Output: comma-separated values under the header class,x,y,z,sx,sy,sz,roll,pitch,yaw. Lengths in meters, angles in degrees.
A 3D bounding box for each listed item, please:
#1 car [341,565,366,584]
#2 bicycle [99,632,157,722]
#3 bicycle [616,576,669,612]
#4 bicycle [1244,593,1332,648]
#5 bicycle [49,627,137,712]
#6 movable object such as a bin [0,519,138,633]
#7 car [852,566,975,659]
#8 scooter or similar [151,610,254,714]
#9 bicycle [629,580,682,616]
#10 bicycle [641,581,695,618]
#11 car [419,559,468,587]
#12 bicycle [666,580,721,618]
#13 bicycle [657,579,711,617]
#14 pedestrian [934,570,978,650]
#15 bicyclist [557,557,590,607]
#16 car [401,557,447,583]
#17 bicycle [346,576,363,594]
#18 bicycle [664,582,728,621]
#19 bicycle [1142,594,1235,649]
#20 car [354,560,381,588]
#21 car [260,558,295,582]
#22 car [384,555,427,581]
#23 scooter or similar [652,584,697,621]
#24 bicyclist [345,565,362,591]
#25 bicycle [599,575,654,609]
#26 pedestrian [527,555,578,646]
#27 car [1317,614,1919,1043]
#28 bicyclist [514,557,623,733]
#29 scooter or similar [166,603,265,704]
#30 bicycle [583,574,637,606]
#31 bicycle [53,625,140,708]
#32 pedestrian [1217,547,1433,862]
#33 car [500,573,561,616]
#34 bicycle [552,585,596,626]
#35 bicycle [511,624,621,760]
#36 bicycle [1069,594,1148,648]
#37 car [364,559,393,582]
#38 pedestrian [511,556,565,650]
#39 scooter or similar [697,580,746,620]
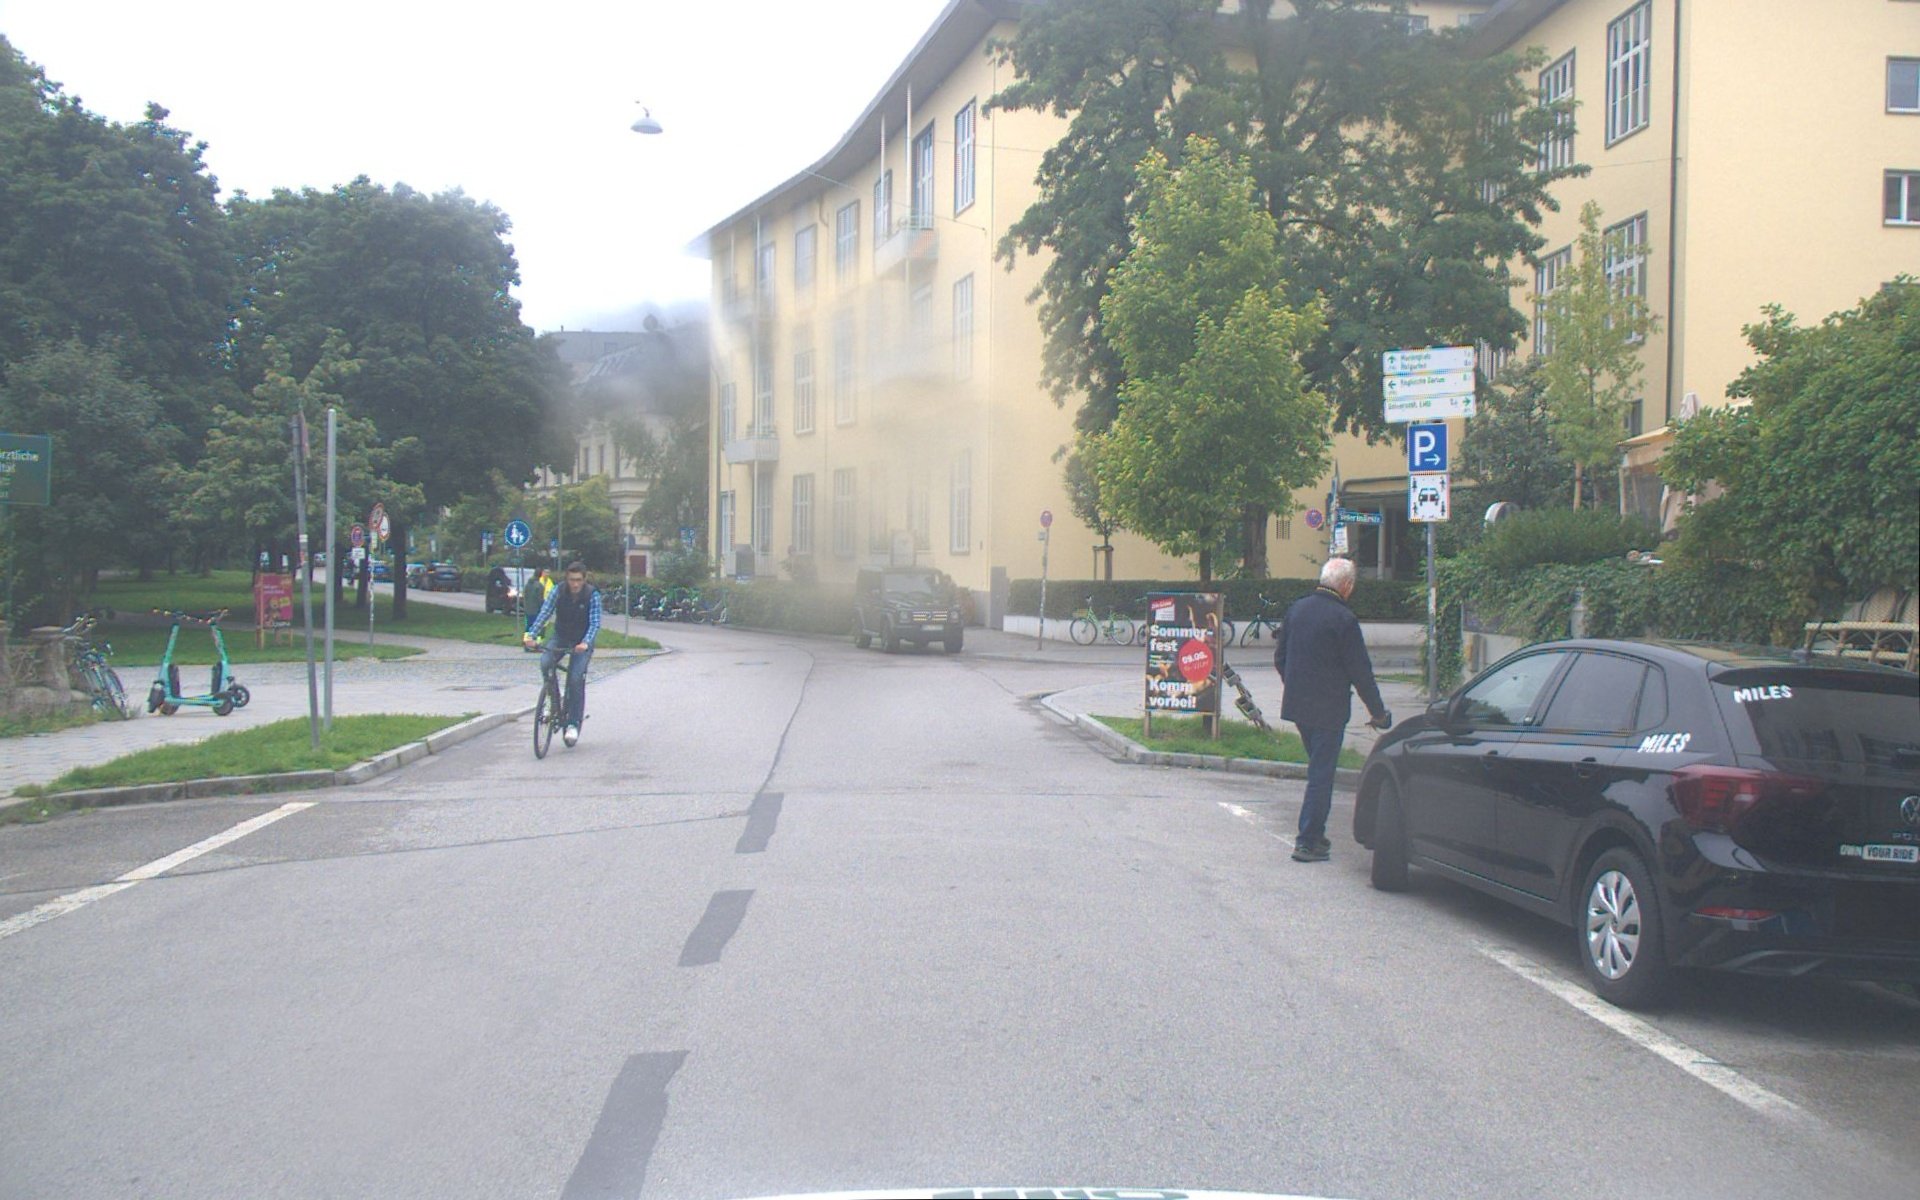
class,x,y,z,sx,sy,sz,roll,pitch,yaw
car,-51.797,-2.179,141.182,1.965,1.634,3.976,0,1,-21
bicycle,-9.747,0.887,19.396,0.535,0.991,1.146,0,0,-24
bicycle,-12.128,-0.235,63.274,0.719,1.328,2.151,1,1,31
bicycle,7.526,0.468,37.991,1.882,1.222,0.595,1,1,0
bicycle,-10.789,0.851,20.564,1.552,1.008,0.300,0,1,35
movable object such as a bin,-27.202,-0.717,49.785,1.957,3.269,3.992,0,1,31
car,-1.165,0.241,39.002,1.734,1.906,4.359,4,0,-17
scooter or similar,-9.097,0.739,19.861,1.092,1.208,0.345,1,1,6
bicycle,-11.328,-0.088,61.580,0.719,1.328,2.151,1,1,31
bicycle,-10.754,-0.044,60.924,0.719,1.328,2.151,1,1,31
car,-30.976,-1.631,99.171,1.973,1.634,3.959,0,1,-30
bicycle,-9.542,-0.060,59.195,0.719,1.328,2.151,1,1,31
bicycle,-9.995,-0.087,60.020,0.719,1.328,2.151,1,1,31
pedestrian,-0.102,0.224,39.119,0.860,1.855,0.795,1,1,-16
bicyclist,-12.097,-0.557,51.788,0.736,1.547,0.935,-1,1,-32
car,-33.733,-1.864,104.028,1.973,1.634,3.959,0,1,-30
bicycle,-34.664,-0.874,94.673,0.632,0.984,1.977,0,1,-28
bicycle,-9.096,0.043,57.113,2.137,1.328,0.723,0,1,-42
bicycle,5.281,0.490,38.211,2.024,1.222,0.595,1,1,19
car,-46.877,-2.032,130.864,1.965,2.197,3.976,0,0,-21
car,-49.279,-2.162,119.364,1.971,1.720,3.963,-1,1,-28
car,-36.510,-2.097,108.881,1.973,1.634,3.959,0,1,-30
scooter or similar,-10.428,0.088,60.375,0.718,1.328,1.728,1,1,28
bicyclist,-34.714,-1.272,94.680,0.786,1.496,0.885,0,1,-28
bicycle,-13.536,-0.327,67.177,2.118,1.328,0.730,0,1,-21
pedestrian,-9.281,0.011,37.701,0.912,2.049,0.957,0,1,0
car,3.294,0.872,8.079,1.645,1.413,4.299,4,0,-7
bicyclist,-3.749,0.419,15.896,0.846,1.635,0.946,1,0,-3
scooter or similar,-9.279,0.647,20.639,0.338,1.208,1.116,1,1,34
bicycle,-14.615,-0.412,69.006,2.118,1.328,0.730,0,1,-21
bicycle,-11.031,0.838,21.116,1.552,1.008,0.300,0,1,35
pedestrian,2.266,0.589,10.282,0.948,1.832,0.921,-1,2,-41
car,-15.985,-0.229,61.457,1.886,1.496,3.978,0,1,-20
bicycle,-12.091,0.164,51.786,0.736,1.236,2.121,-1,1,-31
bicycle,-3.735,0.839,15.822,0.656,1.179,2.002,1,0,-3
bicycle,3.536,0.492,39.554,1.894,1.222,0.592,2,1,42
car,-43.081,-2.176,122.553,1.965,1.634,3.976,0,1,-21
pedestrian,-9.285,0.057,36.432,0.912,2.049,0.957,0,1,0
scooter or similar,-8.104,-0.003,56.266,0.717,1.328,2.157,1,1,20
